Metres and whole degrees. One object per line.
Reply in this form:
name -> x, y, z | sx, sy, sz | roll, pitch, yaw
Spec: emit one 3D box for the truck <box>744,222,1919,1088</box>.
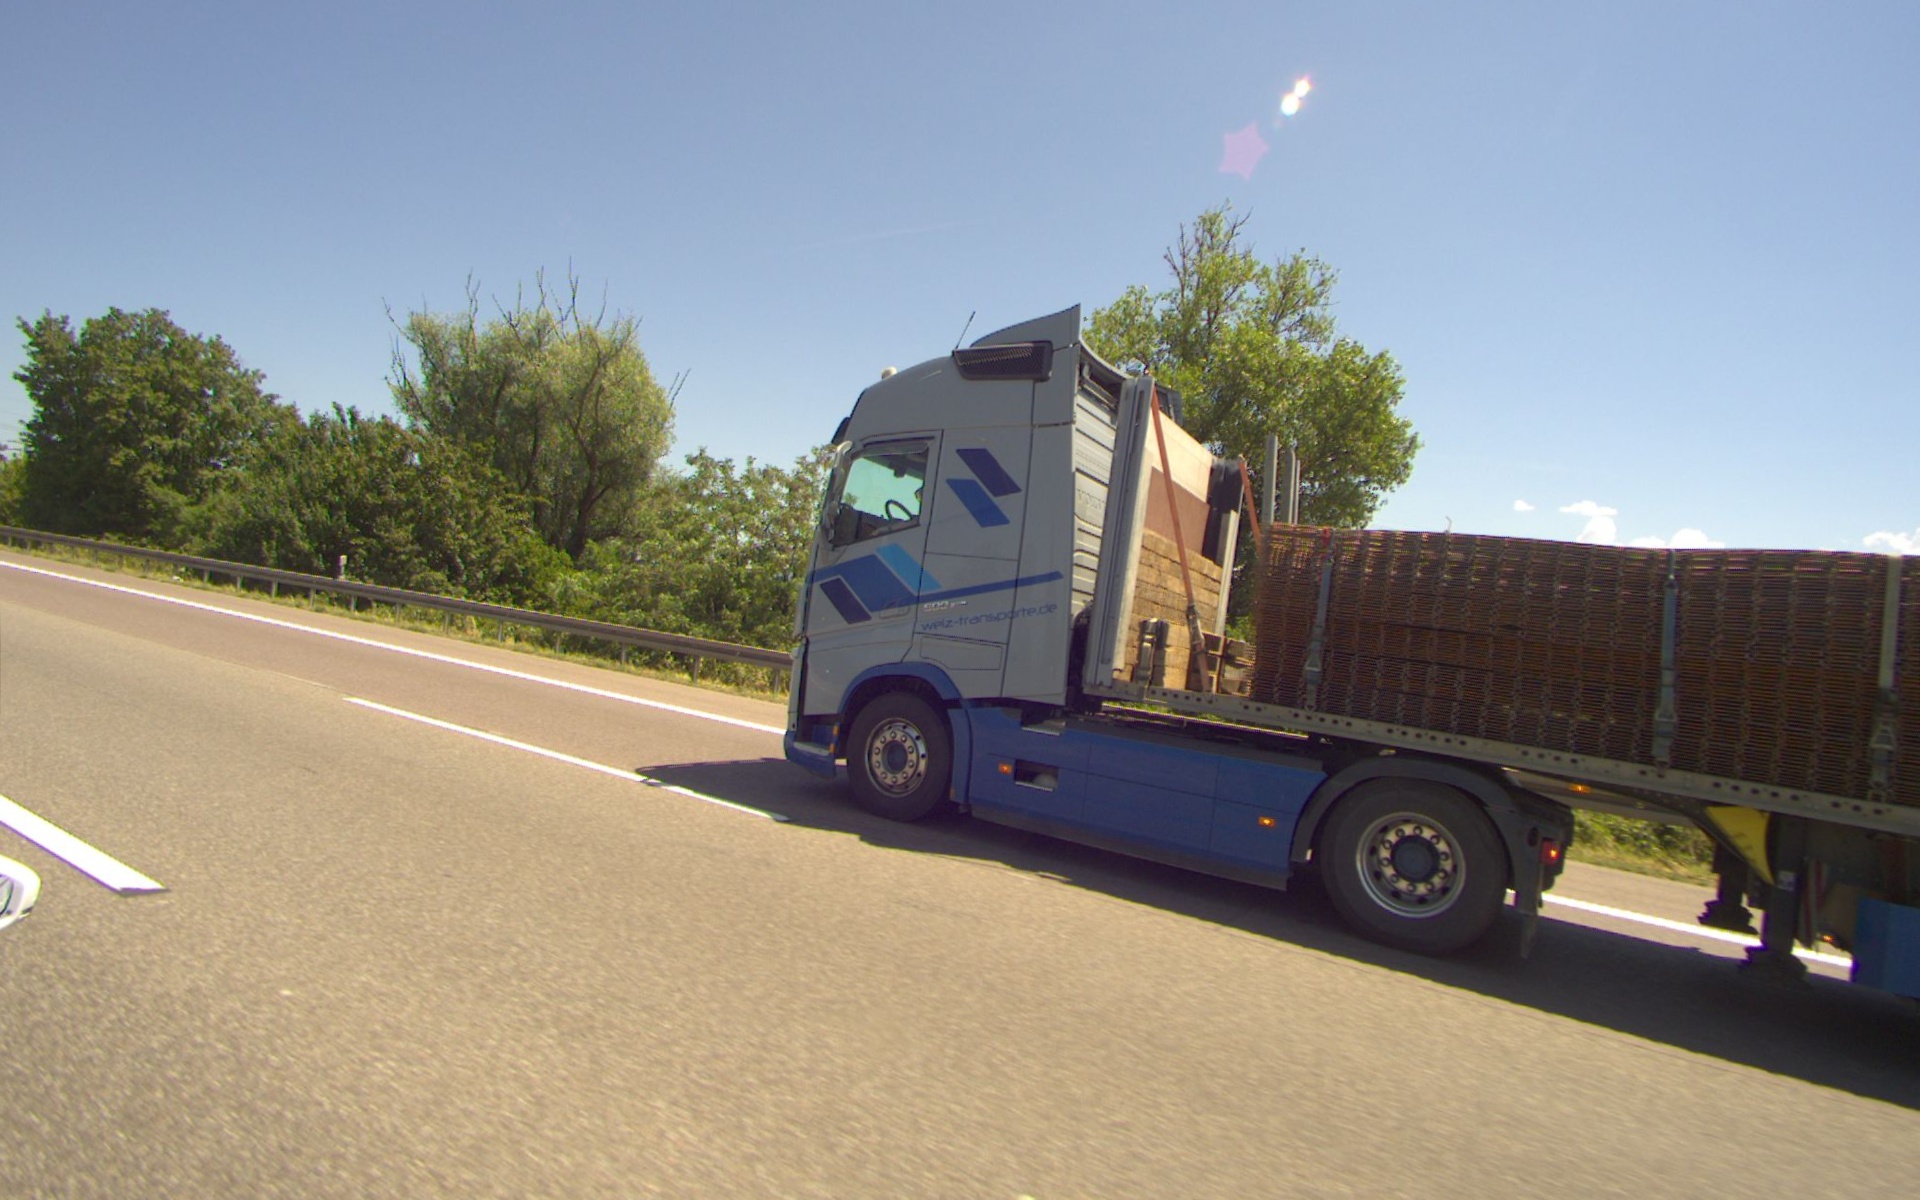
truck -> 6.167, 0.458, 5.354 | 16.335, 4.003, 2.975 | 6, -2, 31
